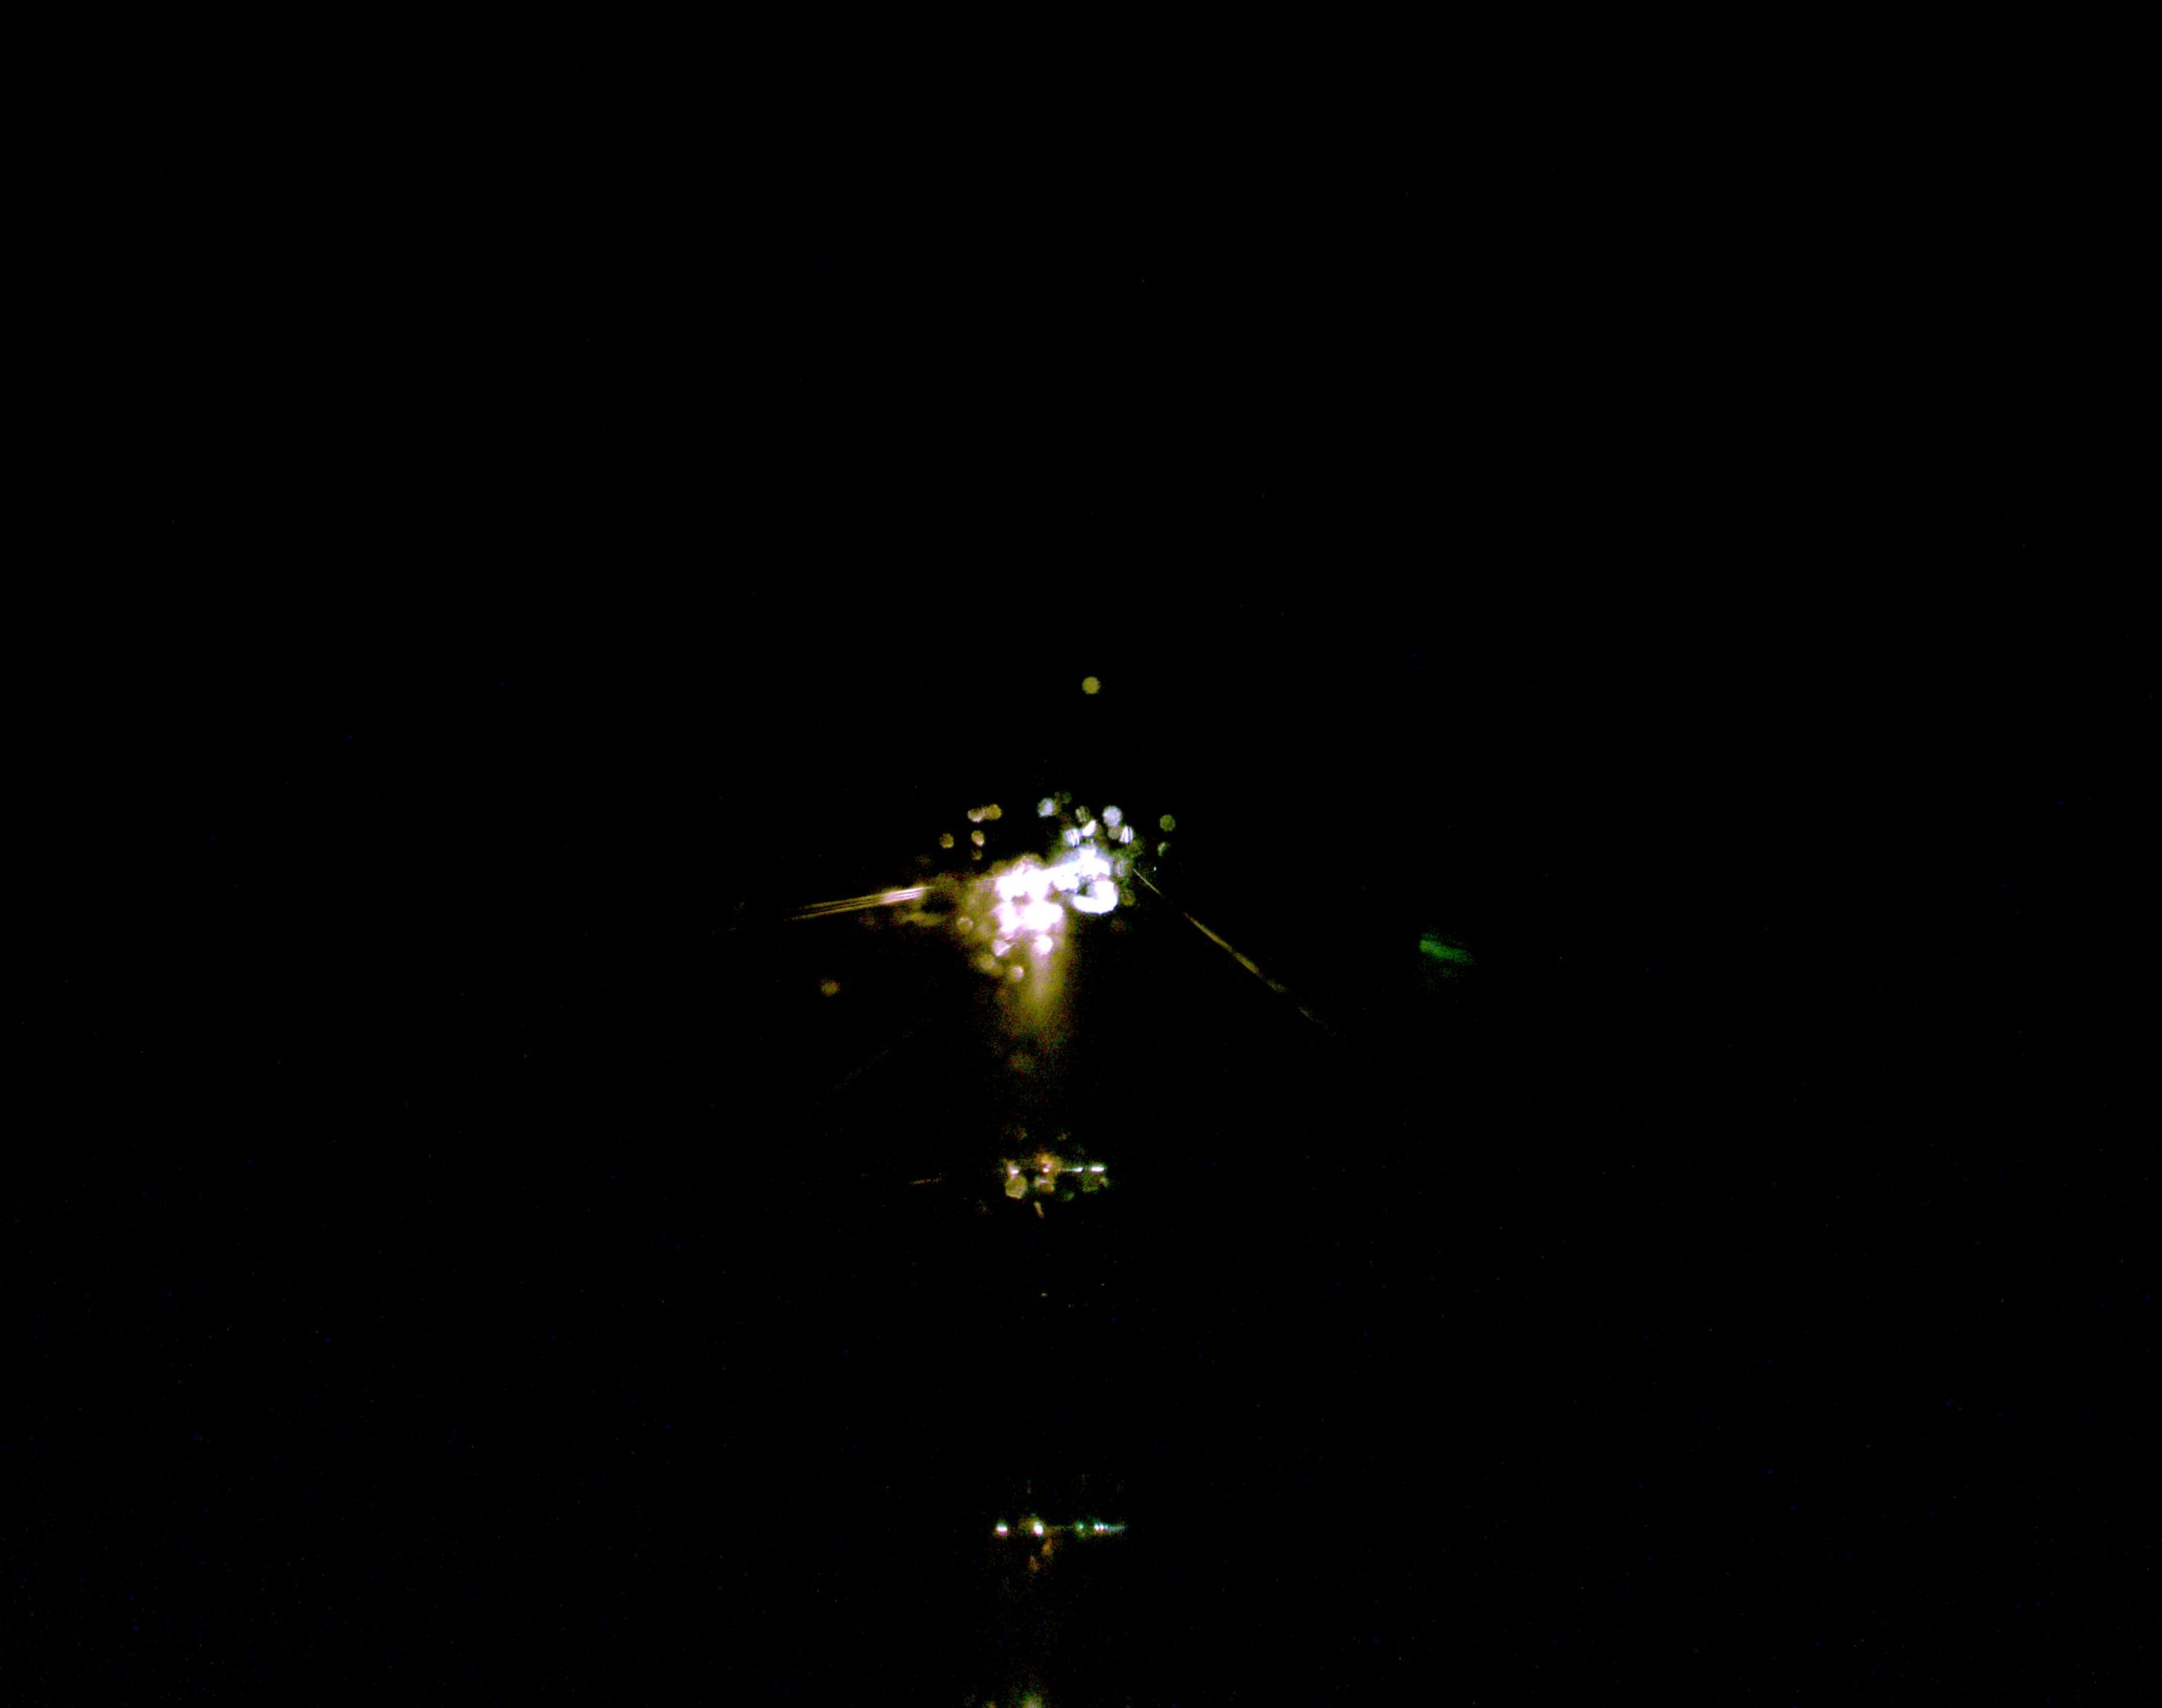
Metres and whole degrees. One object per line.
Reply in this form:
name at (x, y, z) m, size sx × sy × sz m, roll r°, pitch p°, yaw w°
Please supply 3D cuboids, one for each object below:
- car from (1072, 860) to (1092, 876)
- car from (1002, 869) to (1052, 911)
car at (0.125, 1.371, 80.824) m, size 1.821 × 1.456 × 3.795 m, roll -3°, pitch 1°, yaw 2°
car at (-2.199, 1.461, 34.167) m, size 1.710 × 1.470 × 3.708 m, roll -2°, pitch 0°, yaw 1°
